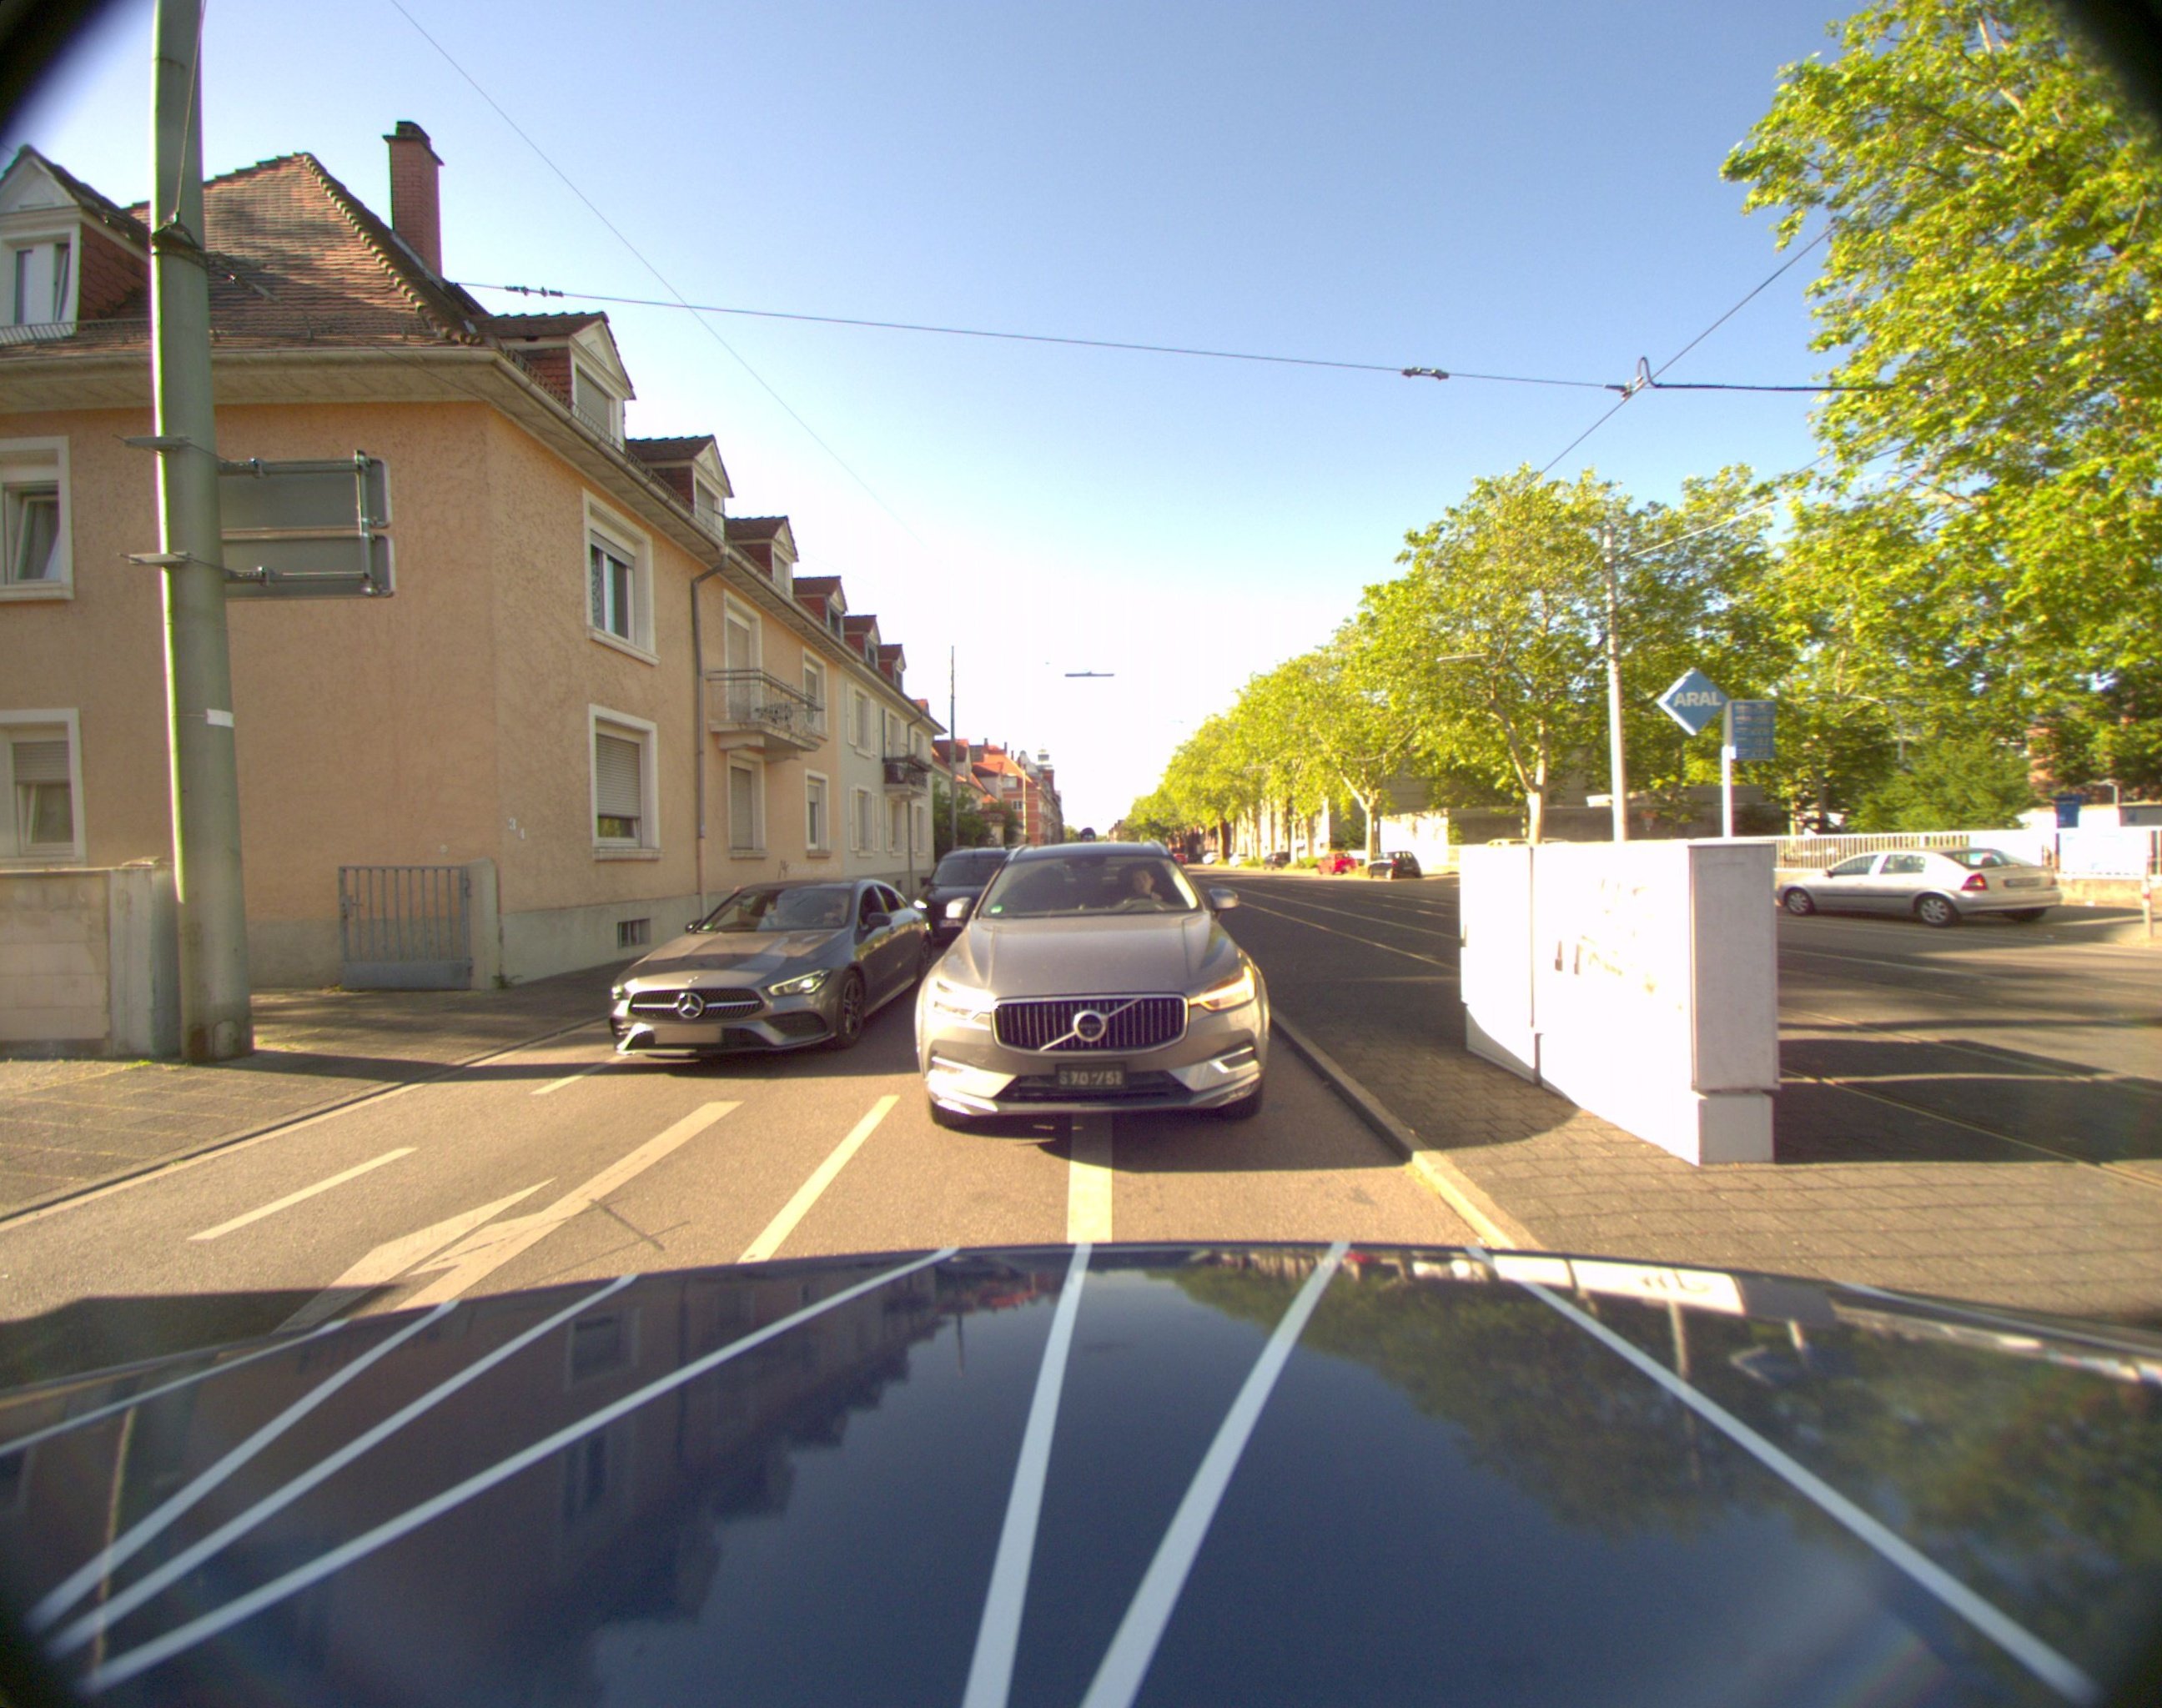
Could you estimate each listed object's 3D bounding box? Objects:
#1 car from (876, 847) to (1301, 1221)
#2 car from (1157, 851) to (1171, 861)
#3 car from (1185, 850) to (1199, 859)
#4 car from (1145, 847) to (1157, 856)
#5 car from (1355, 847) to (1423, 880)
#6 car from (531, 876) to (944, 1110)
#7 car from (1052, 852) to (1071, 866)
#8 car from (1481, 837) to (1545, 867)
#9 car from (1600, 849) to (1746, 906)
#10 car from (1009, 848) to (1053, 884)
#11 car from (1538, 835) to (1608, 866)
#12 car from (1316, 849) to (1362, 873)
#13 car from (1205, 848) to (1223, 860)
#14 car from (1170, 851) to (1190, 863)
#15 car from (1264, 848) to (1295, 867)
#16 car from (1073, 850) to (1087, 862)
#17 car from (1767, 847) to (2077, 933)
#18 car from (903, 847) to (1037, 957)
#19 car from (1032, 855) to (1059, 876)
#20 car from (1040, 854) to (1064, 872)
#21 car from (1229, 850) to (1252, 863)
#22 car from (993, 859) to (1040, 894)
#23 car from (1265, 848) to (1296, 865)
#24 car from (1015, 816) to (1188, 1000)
[{"bbox_3d":[0.042,0.818,5.912,1.912,1.666,4.763,-2,1,0],"label":"car"},{"bbox_3d":[13.338,0.277,122.554,1.700,1.412,3.999,8,1,1],"label":"car"},{"bbox_3d":[18.340,0.017,125.568,1.700,1.401,3.999,-1,1,1],"label":"car"},{"bbox_3d":[13.617,-0.474,148.881,1.850,1.835,4.394,-1,1,-1],"label":"car"},{"bbox_3d":[16.642,0.469,41.316,1.753,1.514,4.434,-5,1,-1],"label":"car"},{"bbox_3d":[-2.834,1.049,7.609,1.911,1.411,4.492,-2,1,2],"label":"car"},{"bbox_3d":[-2.176,0.579,85.445,1.841,1.449,3.999,-2,1,1],"label":"car"},{"bbox_3d":[21.724,-0.114,38.325,1.545,1.412,3.151,-2,1,4],"label":"car"},{"bbox_3d":[16.413,0.605,21.268,1.546,1.412,3.254,-2,1,1],"label":"car"},{"bbox_3d":[-2.857,0.615,44.999,1.937,1.888,7.210,-2,1,1],"label":"car"},{"bbox_3d":[24.276,-0.176,37.631,1.545,1.412,3.151,-2,1,4],"label":"car"},{"bbox_3d":[17.020,0.425,50.265,1.700,1.460,3.999,-1,1,1],"label":"car"},{"bbox_3d":[17.671,0.003,100.791,1.700,1.548,3.999,-1,1,1],"label":"car"},{"bbox_3d":[12.850,0.418,98.997,1.912,1.514,4.763,0,1,0],"label":"car"},{"bbox_3d":[17.174,0.317,66.002,1.700,1.566,3.999,-1,1,1],"label":"car"},{"bbox_3d":[-0.152,0.265,106.497,1.841,1.449,3.999,-2,1,1],"label":"car"},{"bbox_3d":[16.230,0.603,15.035,1.731,1.412,3.999,-2,1,1],"label":"car"},{"bbox_3d":[-2.020,0.793,15.277,1.866,1.794,4.778,-2,1,1],"label":"car"},{"bbox_3d":[-2.821,0.882,60.598,1.841,1.449,3.999,-2,1,1],"label":"car"},{"bbox_3d":[-2.525,0.799,67.007,1.841,1.449,3.999,-2,1,1],"label":"car"},{"bbox_3d":[17.523,0.246,83.530,1.700,1.401,3.999,-1,1,1],"label":"car"},{"bbox_3d":[-3.077,1.053,36.880,1.841,1.449,3.999,-2,1,1],"label":"car"},{"bbox_3d":[17.292,0.224,65.922,1.700,1.401,3.999,-1,1,1],"label":"car"},{"bbox_3d":[0.243,0.596,11.131,1.912,2.048,4.763,-2,1,0],"label":"car"}]
